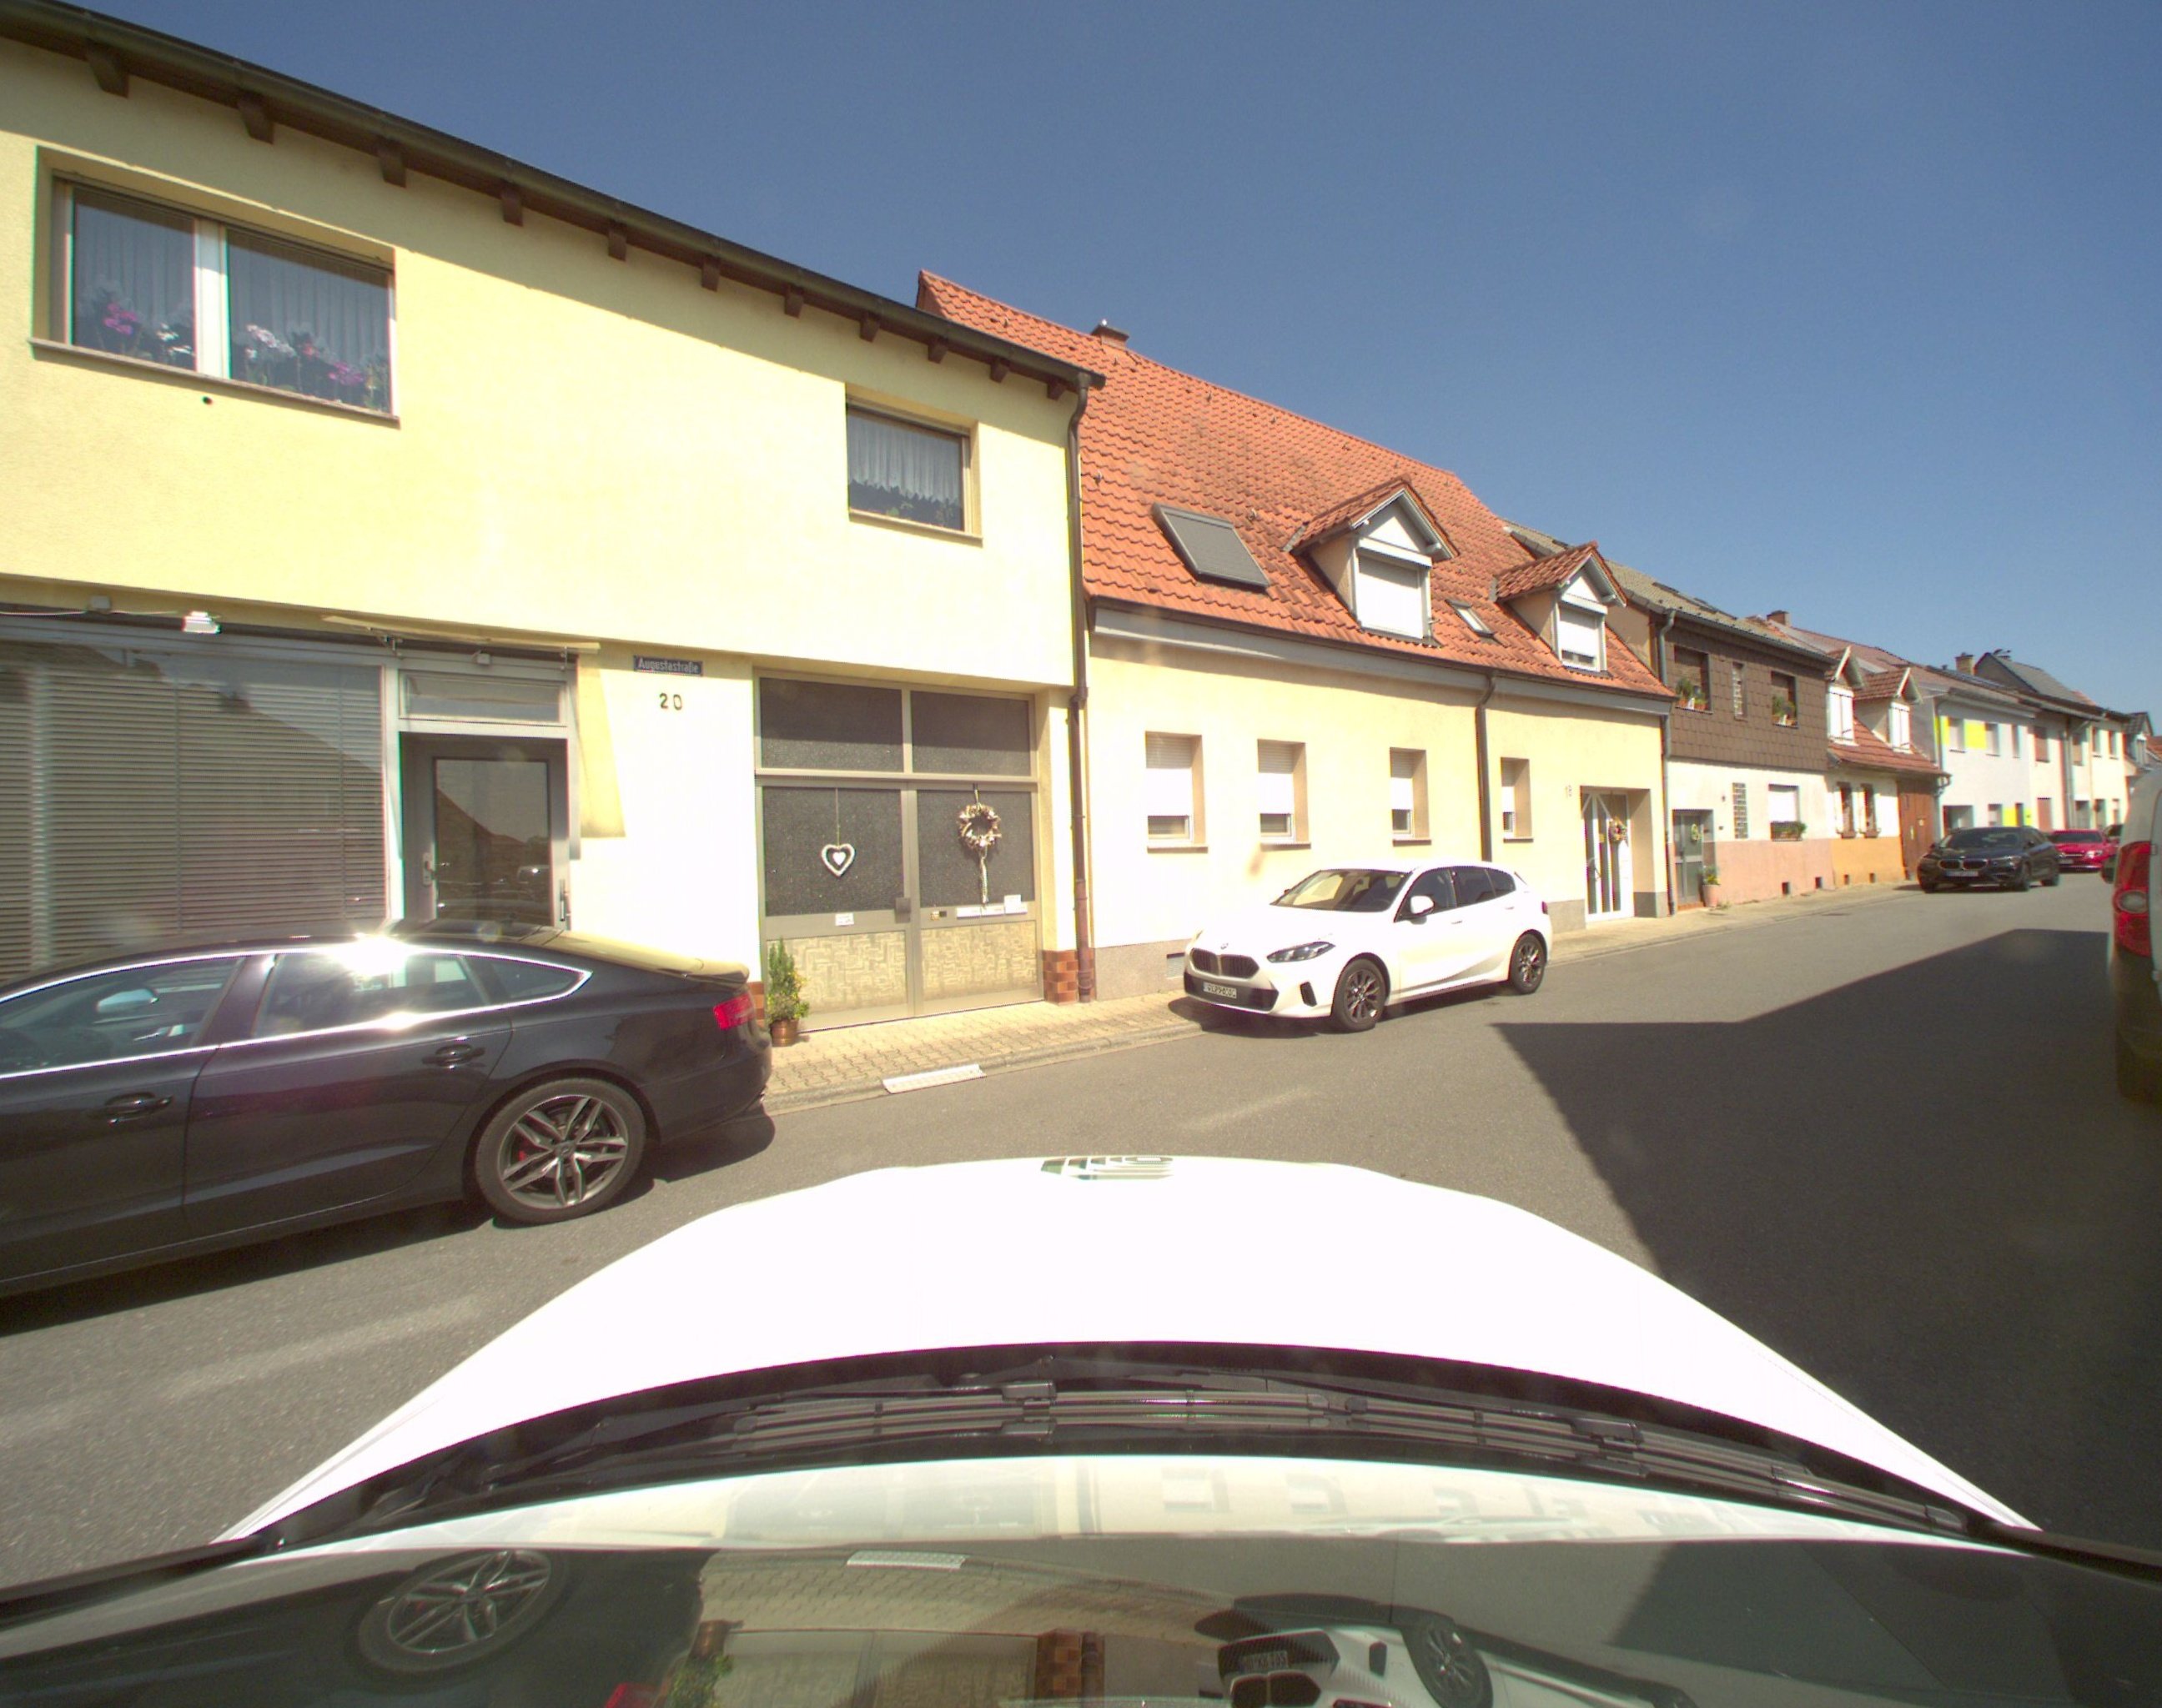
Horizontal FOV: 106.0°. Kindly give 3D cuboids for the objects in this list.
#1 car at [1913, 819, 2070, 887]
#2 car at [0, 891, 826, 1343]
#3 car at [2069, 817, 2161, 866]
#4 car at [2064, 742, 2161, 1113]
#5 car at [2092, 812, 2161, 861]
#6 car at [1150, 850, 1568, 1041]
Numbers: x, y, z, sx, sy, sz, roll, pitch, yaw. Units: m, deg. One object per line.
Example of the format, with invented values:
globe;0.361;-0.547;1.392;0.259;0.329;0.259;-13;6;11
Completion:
car;23.467;-0.045;20.960;4.629;1.574;1.788;-2;-2;-31
car;-3.827;1.021;3.817;4.649;1.394;1.908;-1;-4;-33
car;34.495;-0.428;26.917;4.504;1.441;1.787;-1;-2;-33
car;7.645;0.312;4.901;4.870;1.824;1.796;-1;0;-35
car;40.776;-0.670;31.288;4.502;1.704;1.787;-1;-3;-32
car;2.969;0.765;8.443;4.230;1.454;1.770;-1;-2;-32
